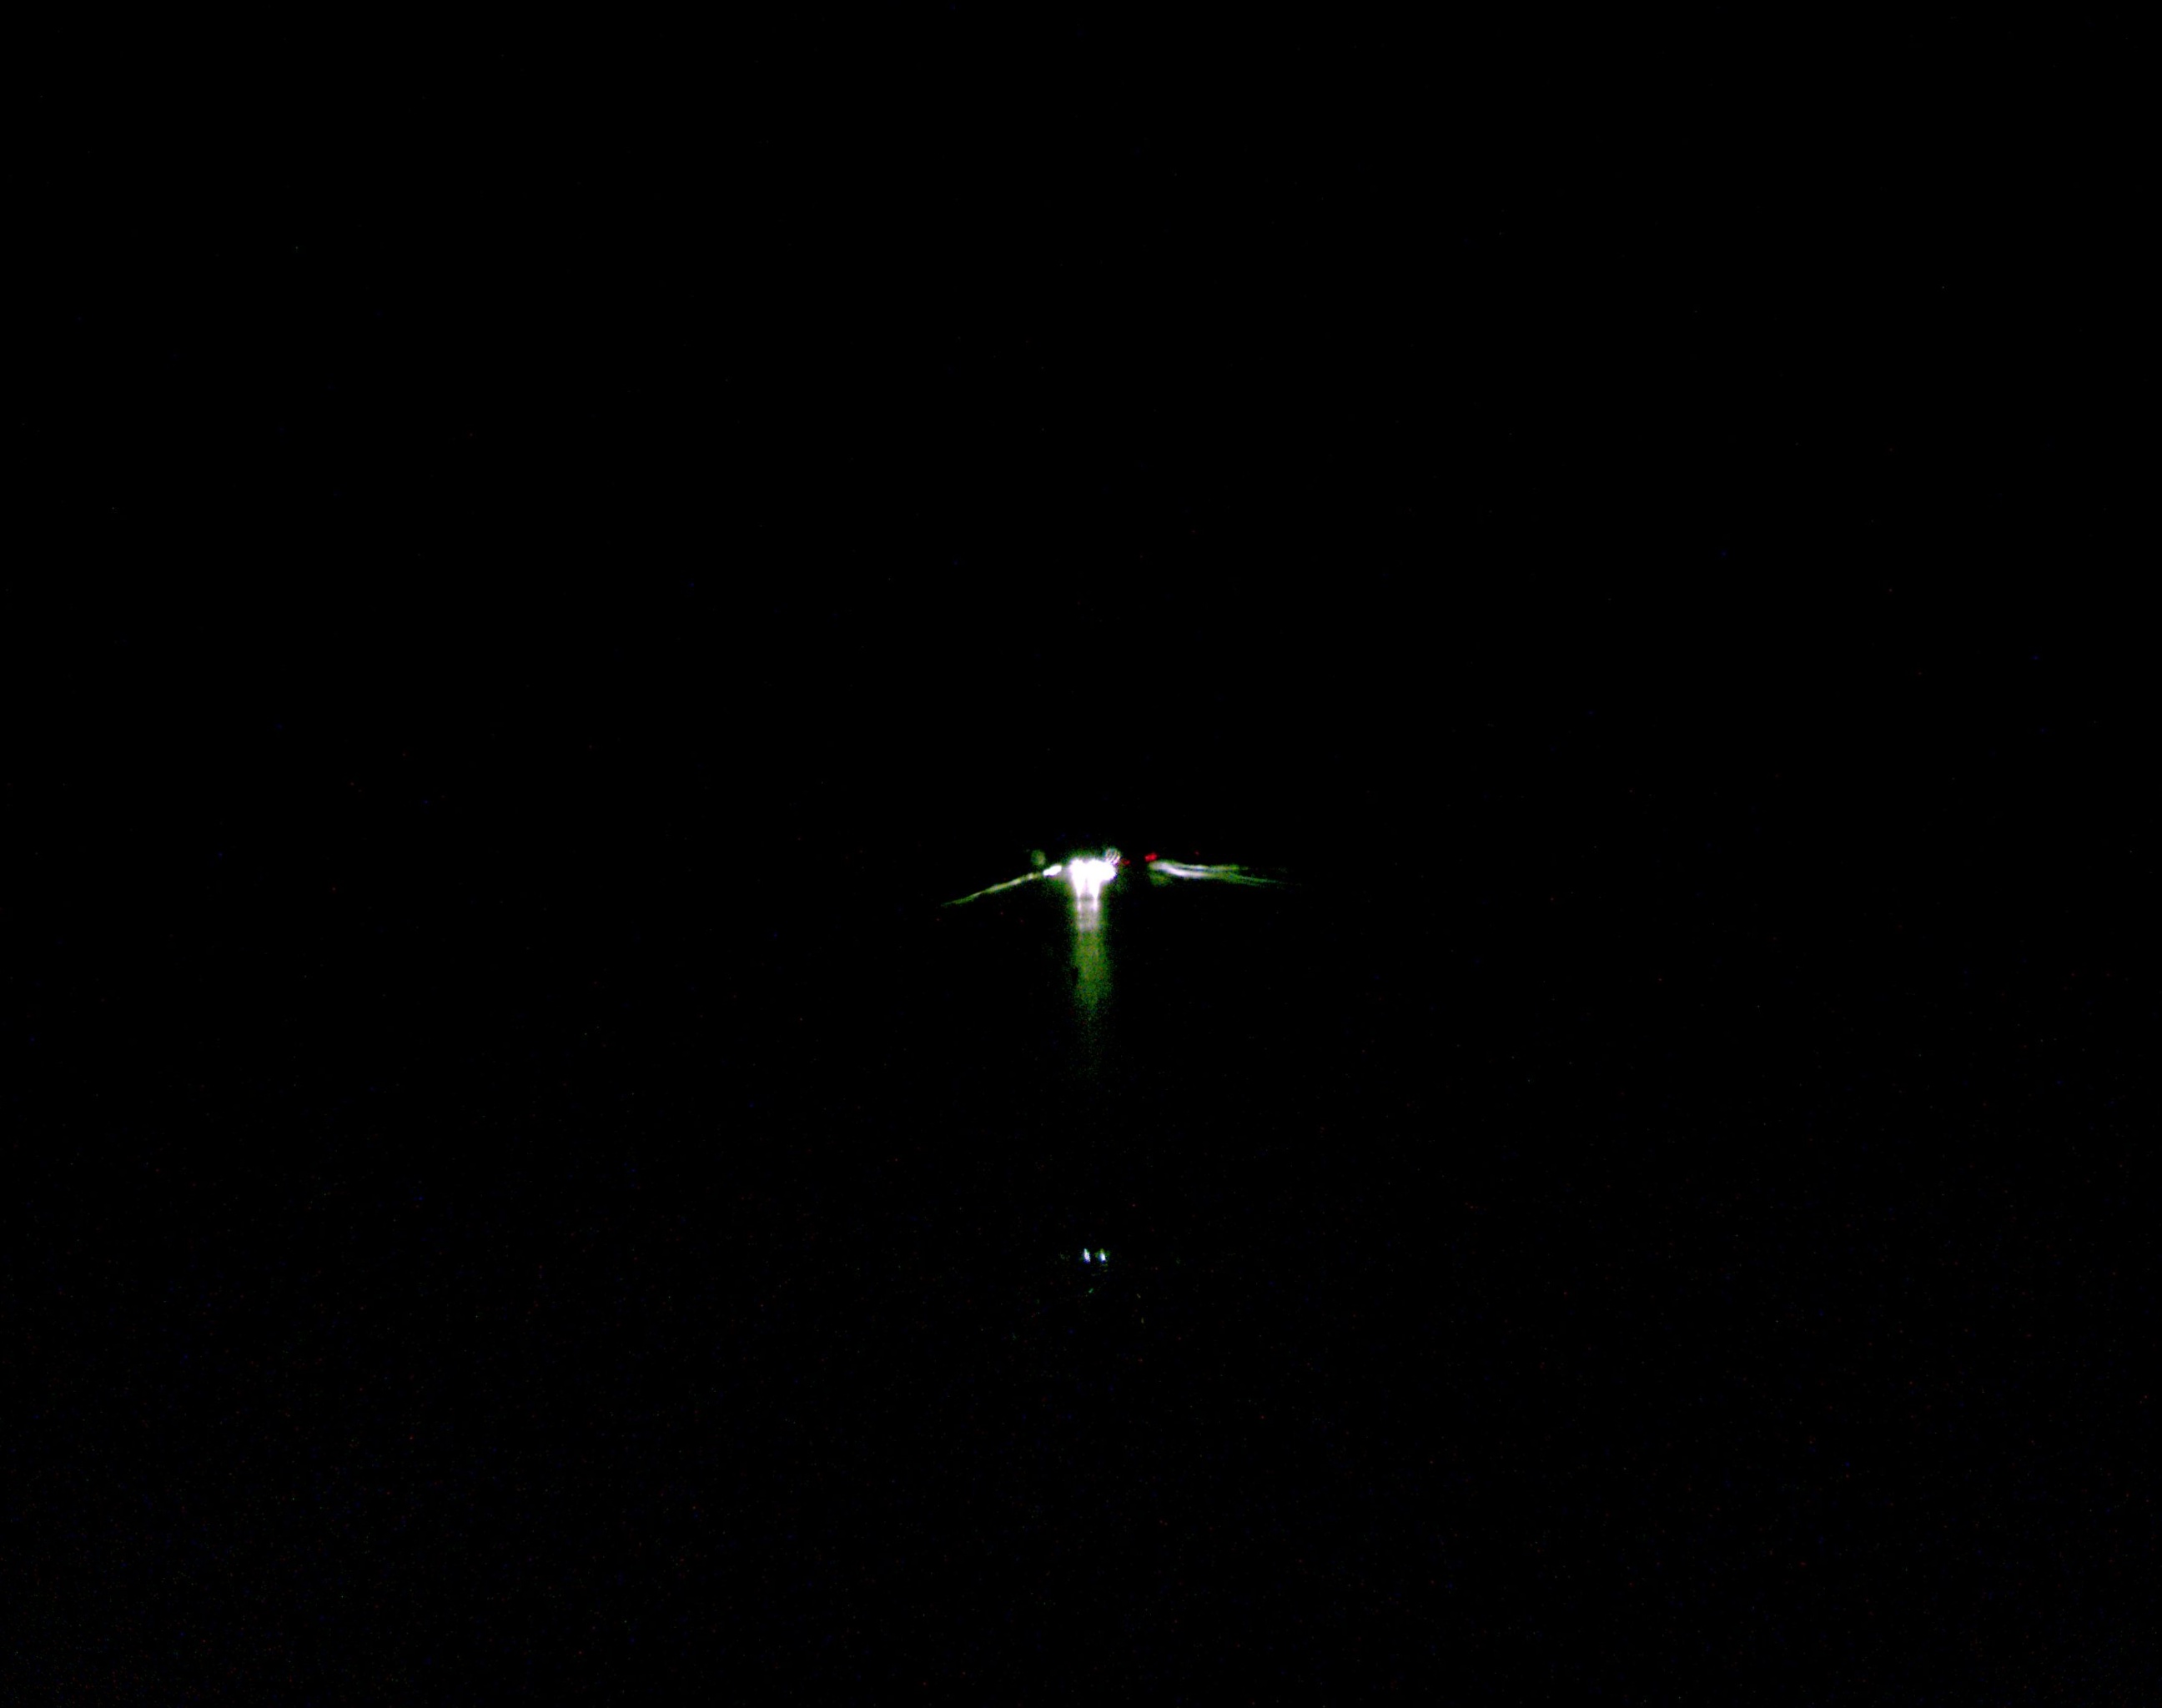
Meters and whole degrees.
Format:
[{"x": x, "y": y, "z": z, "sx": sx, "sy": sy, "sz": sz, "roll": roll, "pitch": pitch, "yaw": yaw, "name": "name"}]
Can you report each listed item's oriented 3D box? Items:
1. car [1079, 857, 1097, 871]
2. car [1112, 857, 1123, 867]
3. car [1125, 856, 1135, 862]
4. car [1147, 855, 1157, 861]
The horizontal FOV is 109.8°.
[{"x": 0.773, "y": 1.030, "z": 82.038, "sx": 1.807, "sy": 1.452, "sz": 4.276, "roll": -2, "pitch": 0, "yaw": 3, "name": "car"}, {"x": 6.365, "y": 1.375, "z": 133.470, "sx": 1.838, "sy": 1.536, "sz": 4.647, "roll": -2, "pitch": 0, "yaw": 3, "name": "car"}, {"x": 11.257, "y": 1.062, "z": 175.207, "sx": 1.809, "sy": 1.331, "sz": 4.192, "roll": -2, "pitch": 0, "yaw": 10, "name": "car"}, {"x": 19.386, "y": 1.095, "z": 207.559, "sx": 1.996, "sy": 1.463, "sz": 3.840, "roll": -2, "pitch": -1, "yaw": 13, "name": "car"}]
